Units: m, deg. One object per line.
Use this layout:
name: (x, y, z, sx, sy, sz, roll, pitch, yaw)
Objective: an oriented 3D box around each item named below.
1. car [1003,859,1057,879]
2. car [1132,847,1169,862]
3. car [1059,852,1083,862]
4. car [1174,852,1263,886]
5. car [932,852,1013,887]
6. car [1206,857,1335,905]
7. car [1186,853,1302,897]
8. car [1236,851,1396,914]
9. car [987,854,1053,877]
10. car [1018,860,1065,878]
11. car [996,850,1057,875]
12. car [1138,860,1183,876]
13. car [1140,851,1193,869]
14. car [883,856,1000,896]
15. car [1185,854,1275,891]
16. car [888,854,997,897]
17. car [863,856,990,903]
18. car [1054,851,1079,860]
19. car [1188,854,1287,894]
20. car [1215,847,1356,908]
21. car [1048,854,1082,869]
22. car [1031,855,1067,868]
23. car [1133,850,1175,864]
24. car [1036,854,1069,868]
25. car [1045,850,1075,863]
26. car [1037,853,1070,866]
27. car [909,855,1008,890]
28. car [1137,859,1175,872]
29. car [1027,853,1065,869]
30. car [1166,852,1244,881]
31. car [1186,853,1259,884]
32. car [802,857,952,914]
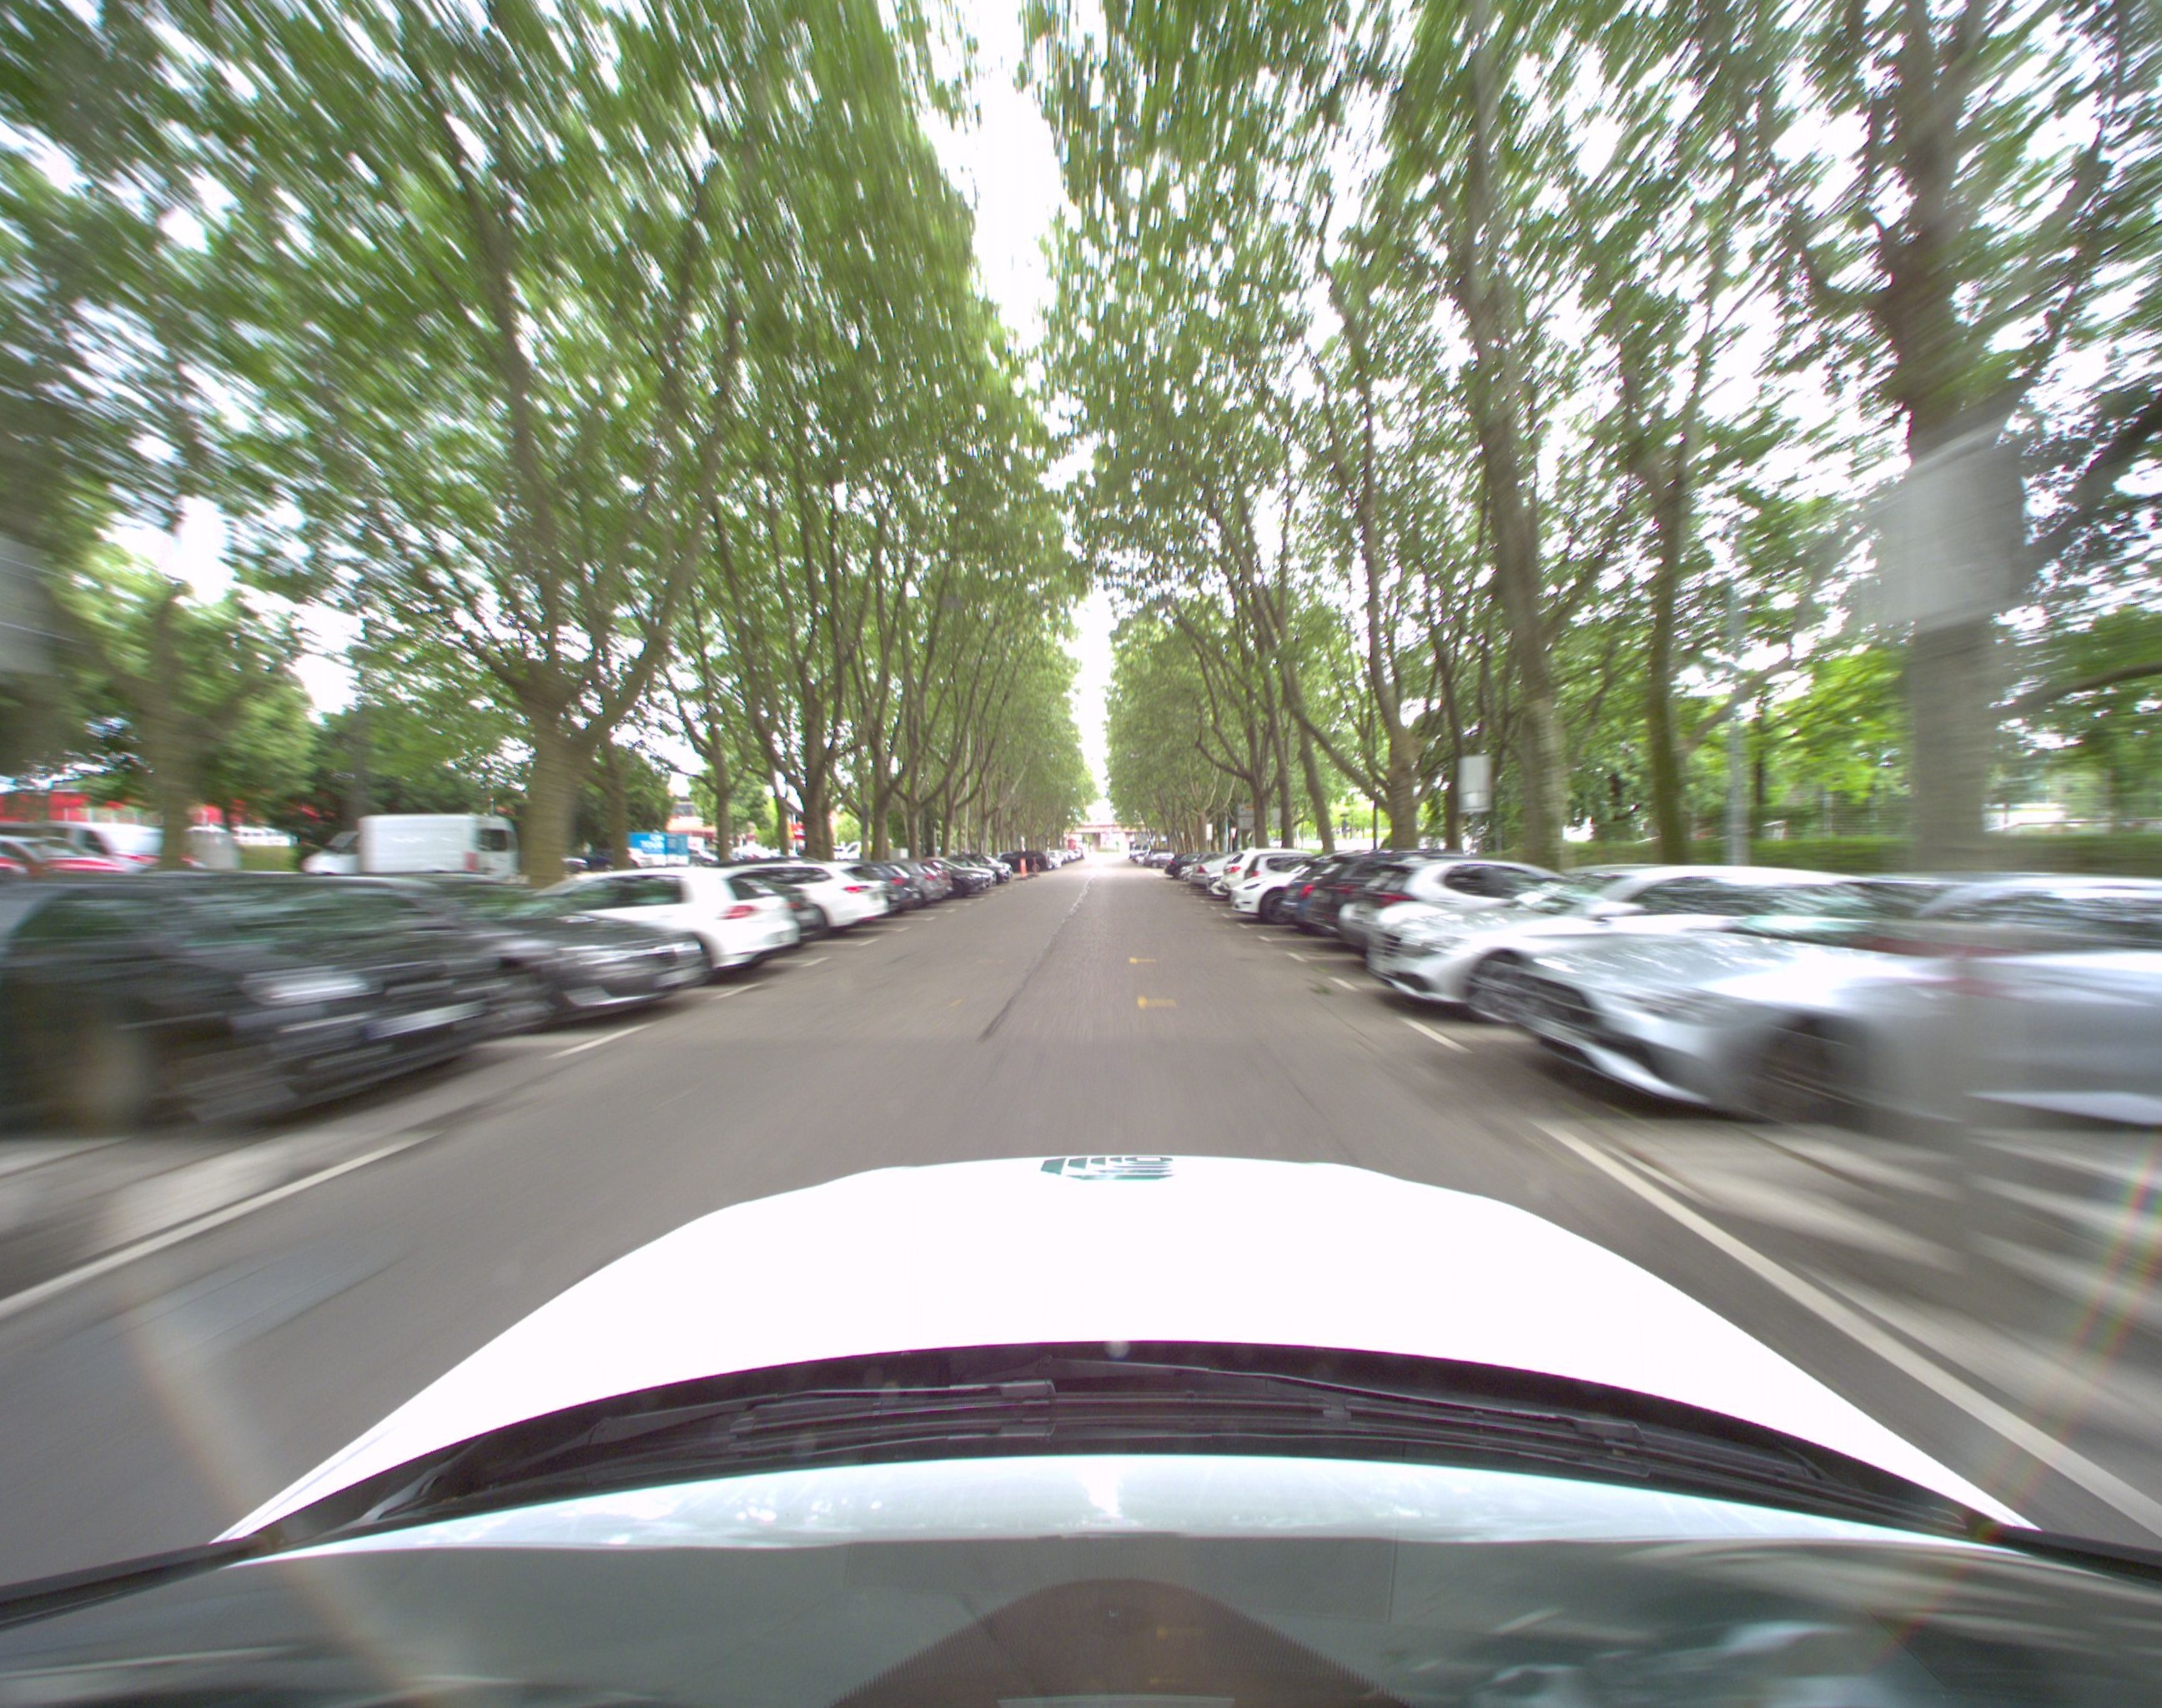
car: (-4.115, 1.170, 65.758, 4.153, 1.381, 1.871, -3, 0, 0)
car: (8.310, 0.022, 97.681, 4.363, 1.751, 1.730, 0, 0, -1)
car: (-1.623, 0.506, 132.215, 3.796, 1.515, 1.688, 0, 0, 5)
car: (5.947, 0.627, 35.496, 3.666, 1.424, 1.519, 1, 0, 0)
car: (-5.381, 0.761, 40.757, 3.816, 1.554, 1.694, -2, 0, -1)
car: (5.792, 0.822, 25.154, 3.635, 1.410, 1.518, 1, 0, -2)
car: (5.601, 0.702, 28.362, 3.635, 1.424, 1.984, 1, 0, -2)
car: (5.961, 0.711, 20.946, 3.635, 1.519, 1.642, 1, 0, -2)
car: (-4.515, 0.850, 60.560, 4.649, 1.427, 2.000, -3, 0, 0)
car: (-3.403, 1.291, 70.368, 3.793, 1.354, 1.665, -3, 0, 7)
car: (-4.190, 0.676, 63.164, 4.457, 1.677, 1.762, -3, 0, 0)
car: (7.545, 1.320, 77.312, 4.153, 1.442, 1.734, 0, 0, 6)
car: (7.375, 0.529, 70.130, 4.550, 1.486, 2.004, 0, 0, 6)
car: (-5.648, 0.877, 33.295, 4.381, 1.429, 1.697, -2, 0, 4)
car: (5.934, 0.720, 32.772, 3.410, 1.424, 1.521, 1, 0, 4)
car: (-5.236, 0.809, 31.152, 3.816, 1.430, 1.693, -2, -1, -1)
car: (-5.233, 0.846, 27.969, 4.009, 1.429, 1.694, -2, 0, -1)
car: (-2.356, 0.266, 130.200, 3.796, 1.515, 1.688, 0, 0, 5)
car: (5.859, 0.726, 30.670, 3.415, 1.424, 1.518, 1, 0, -2)
car: (5.774, 0.653, 23.228, 3.635, 1.667, 1.518, 1, 0, -2)
car: (-1.934, 0.912, 97.605, 3.793, 1.515, 1.689, -3, 0, 7)
car: (-3.649, 0.808, 93.208, 3.793, 1.296, 1.789, -3, 0, 7)
car: (7.359, 0.281, 82.195, 4.153, 1.442, 1.734, 0, 0, 6)
car: (-3.473, 0.878, 100.736, 3.793, 1.515, 1.689, -3, 0, 7)
car: (-2.858, 0.349, 111.026, 3.793, 1.515, 1.689, -3, 0, 7)
car: (-3.445, 0.718, 102.965, 3.793, 1.515, 1.689, -3, 0, 7)
car: (-5.664, 0.841, 38.010, 4.320, 1.429, 1.694, -2, 0, -1)
car: (8.473, 1.282, 92.209, 4.036, 1.468, 1.730, 0, 0, -1)
car: (-3.784, 0.745, 87.759, 3.793, 1.602, 1.789, -3, 0, 7)
car: (6.526, 0.639, 42.963, 3.905, 1.452, 1.556, 1, 0, 0)
car: (7.037, 0.698, 40.687, 3.413, 1.508, 1.556, 1, 0, 0)
car: (-5.795, 0.872, 23.465, 3.816, 1.429, 1.694, -2, 0, -1)
